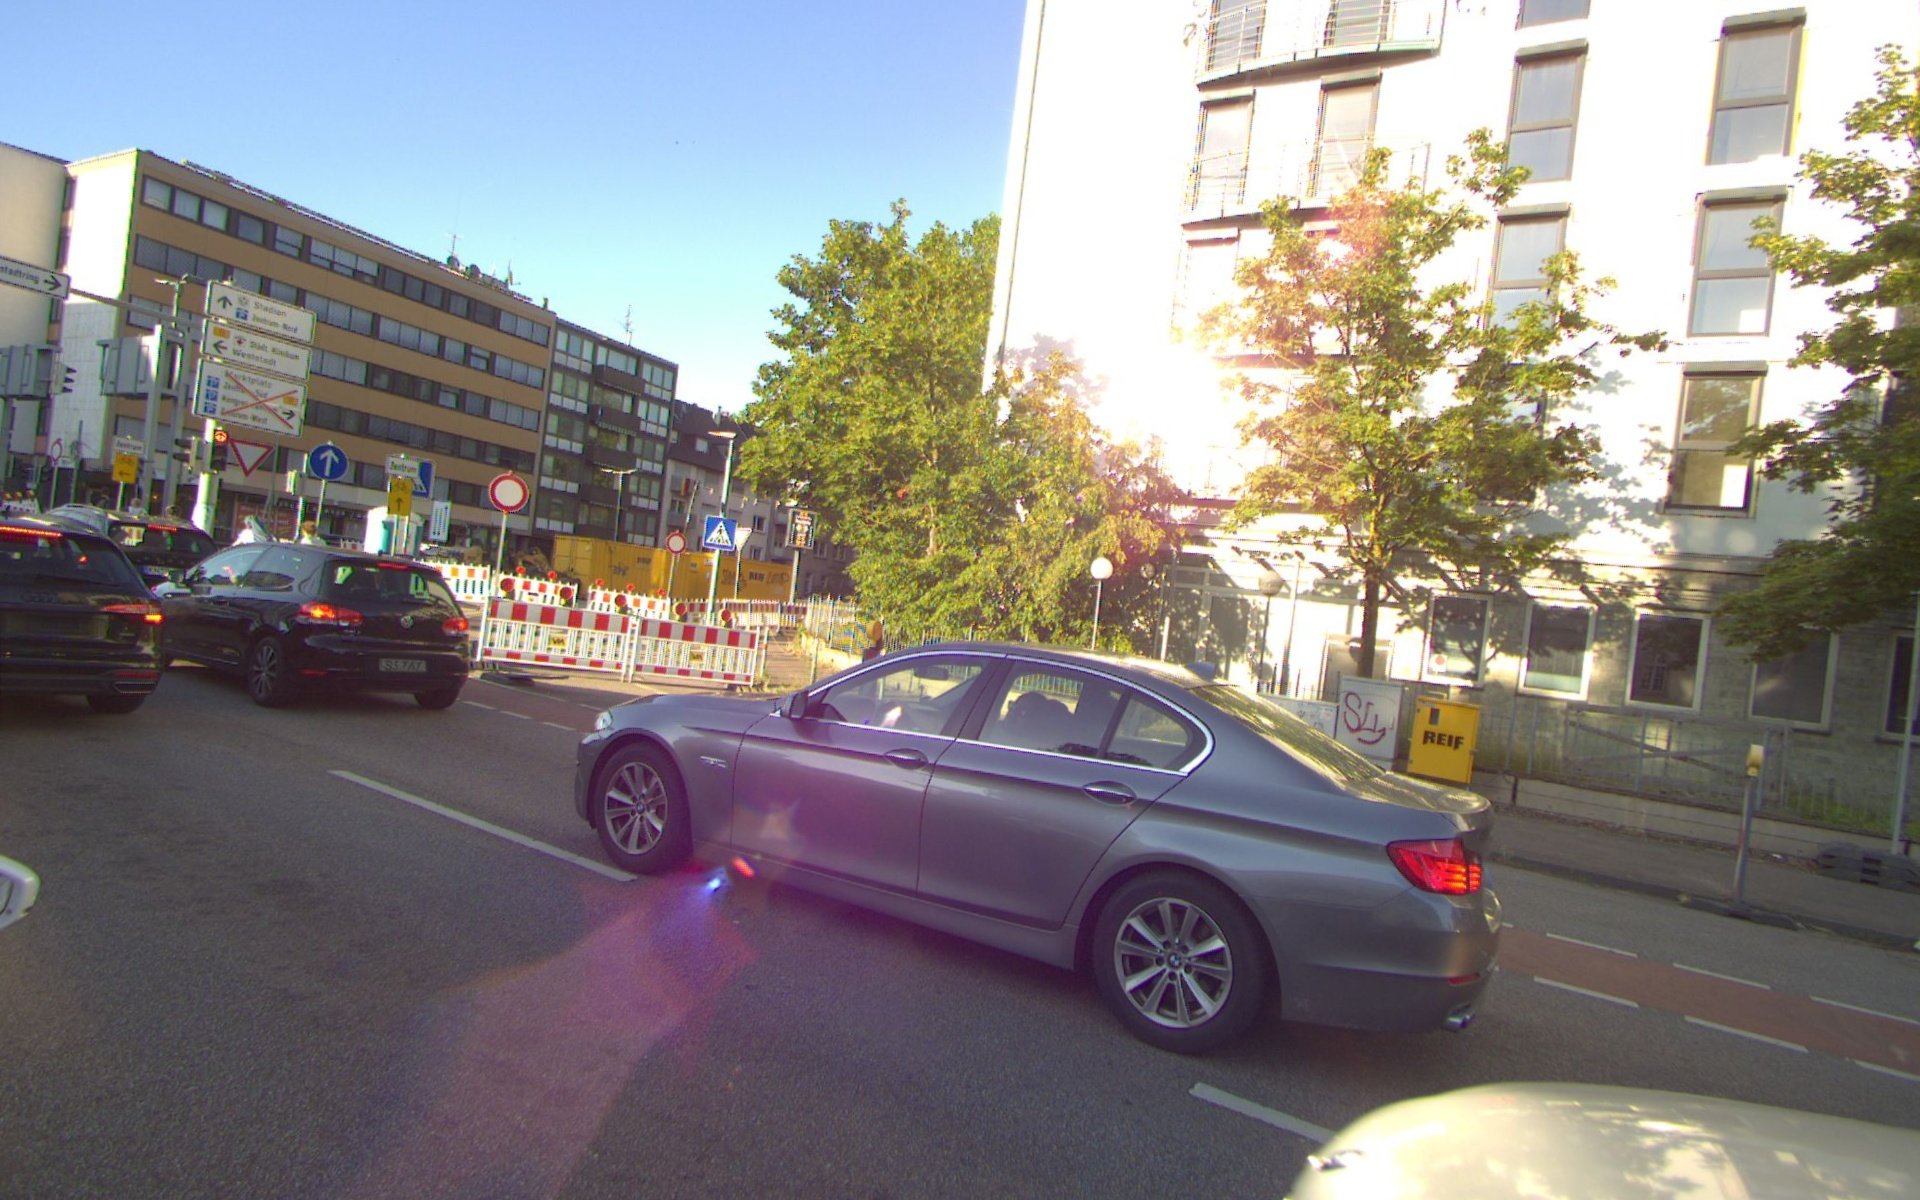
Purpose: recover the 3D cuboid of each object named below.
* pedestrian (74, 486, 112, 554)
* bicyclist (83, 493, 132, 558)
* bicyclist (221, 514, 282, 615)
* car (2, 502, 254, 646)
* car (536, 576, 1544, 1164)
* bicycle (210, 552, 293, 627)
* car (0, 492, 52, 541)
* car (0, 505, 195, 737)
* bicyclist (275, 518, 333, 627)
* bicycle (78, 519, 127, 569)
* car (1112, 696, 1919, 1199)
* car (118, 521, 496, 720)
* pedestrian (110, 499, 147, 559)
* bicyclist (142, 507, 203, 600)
[{"bbox_3d":[-25.060,-2.309,29.078,0.479,1.857,0.570,7,0,34],"label":"pedestrian"},{"bbox_3d":[-23.135,-2.009,27.296,0.800,1.608,0.619,8,0,29],"label":"bicyclist"},{"bbox_3d":[-11.494,-0.570,16.323,0.713,1.544,0.441,7,0,32],"label":"bicyclist"},{"bbox_3d":[-11.125,-0.362,13.423,3.250,1.466,1.508,7,-2,32],"label":"car"},{"bbox_3d":[0.212,0.913,5.124,4.587,1.466,1.819,7,-1,29],"label":"car"},{"bbox_3d":[-11.475,-0.176,16.278,1.825,1.020,0.337,7,0,32],"label":"bicycle"},{"bbox_3d":[-32.111,-2.923,32.310,1.650,1.435,4.001,7,-1,18],"label":"car"},{"bbox_3d":[-7.675,-0.050,7.474,4.144,1.437,1.685,7,-2,32],"label":"car"},{"bbox_3d":[-9.802,-0.406,15.035,0.474,1.544,0.441,7,0,31],"label":"bicyclist"},{"bbox_3d":[-23.245,-1.535,27.265,1.473,1.175,0.373,8,-1,28],"label":"bicycle"},{"bbox_3d":[2.363,1.092,0.424,4.369,1.435,1.673,7,-1,33],"label":"car"},{"bbox_3d":[-6.599,0.180,10.086,3.683,1.466,1.637,7,-2,32],"label":"car"},{"bbox_3d":[-24.769,-2.103,29.969,0.447,1.691,0.602,7,0,33],"label":"pedestrian"},{"bbox_3d":[-13.949,-0.825,17.821,0.713,1.544,0.514,7,0,32],"label":"bicyclist"}]
